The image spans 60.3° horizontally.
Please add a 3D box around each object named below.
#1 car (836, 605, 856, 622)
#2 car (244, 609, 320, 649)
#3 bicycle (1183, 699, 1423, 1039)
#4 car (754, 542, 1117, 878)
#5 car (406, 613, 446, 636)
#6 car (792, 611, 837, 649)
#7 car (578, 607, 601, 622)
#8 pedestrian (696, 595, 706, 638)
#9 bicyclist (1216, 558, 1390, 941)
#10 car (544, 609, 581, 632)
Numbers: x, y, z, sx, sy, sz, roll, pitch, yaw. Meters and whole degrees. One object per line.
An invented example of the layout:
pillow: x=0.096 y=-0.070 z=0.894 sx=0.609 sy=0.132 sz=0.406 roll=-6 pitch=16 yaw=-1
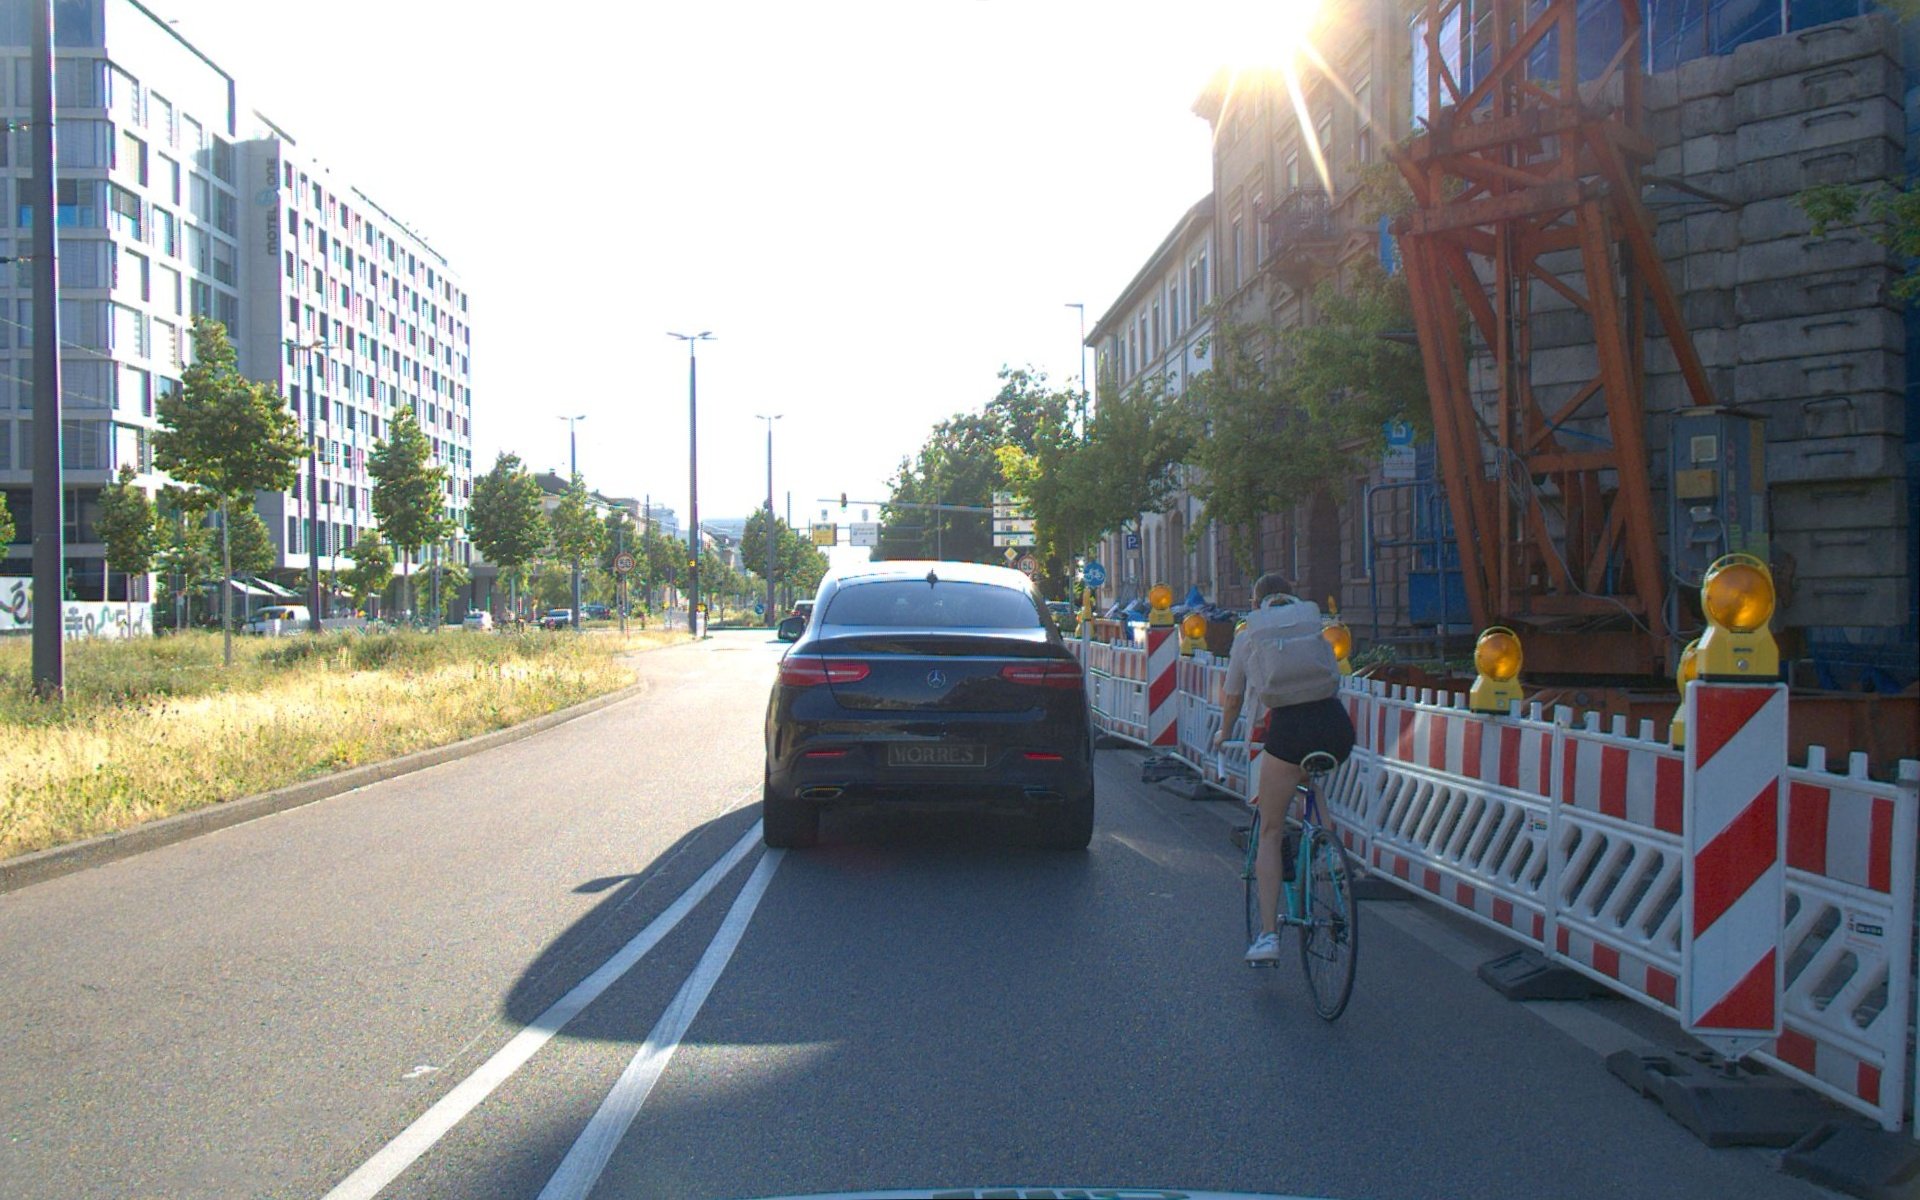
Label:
car: x=-9.910 y=1.141 z=143.864 sx=1.674 sy=1.467 sz=3.580 roll=1 pitch=0 yaw=-3
car: x=-30.066 y=1.250 z=73.444 sx=1.753 sy=1.713 sz=3.639 roll=1 pitch=0 yaw=2
bicycle: x=1.300 y=0.980 z=6.569 sx=0.502 sy=1.070 sz=1.724 roll=1 pitch=0 yaw=-3
car: x=-0.146 y=0.607 z=10.980 sx=1.953 sy=1.803 sz=3.999 roll=1 pitch=0 yaw=-1
car: x=-36.179 y=1.637 z=112.167 sx=1.674 sy=1.467 sz=3.580 roll=1 pitch=0 yaw=-3
car: x=-5.901 y=1.215 z=67.425 sx=1.674 sy=1.467 sz=3.581 roll=0 pitch=0 yaw=-3
car: x=-36.973 y=1.428 z=165.184 sx=1.674 sy=1.467 sz=3.580 roll=1 pitch=0 yaw=-3
pedestrian: x=-10.911 y=0.695 z=69.694 sx=0.327 sy=1.794 sz=0.418 roll=1 pitch=-1 yaw=-3
bicyclist: x=1.325 y=0.559 z=6.458 sx=0.512 sy=1.420 sz=0.614 roll=1 pitch=0 yaw=-3
car: x=-26.220 y=1.357 z=109.114 sx=1.674 sy=1.467 sz=3.580 roll=1 pitch=0 yaw=-3
